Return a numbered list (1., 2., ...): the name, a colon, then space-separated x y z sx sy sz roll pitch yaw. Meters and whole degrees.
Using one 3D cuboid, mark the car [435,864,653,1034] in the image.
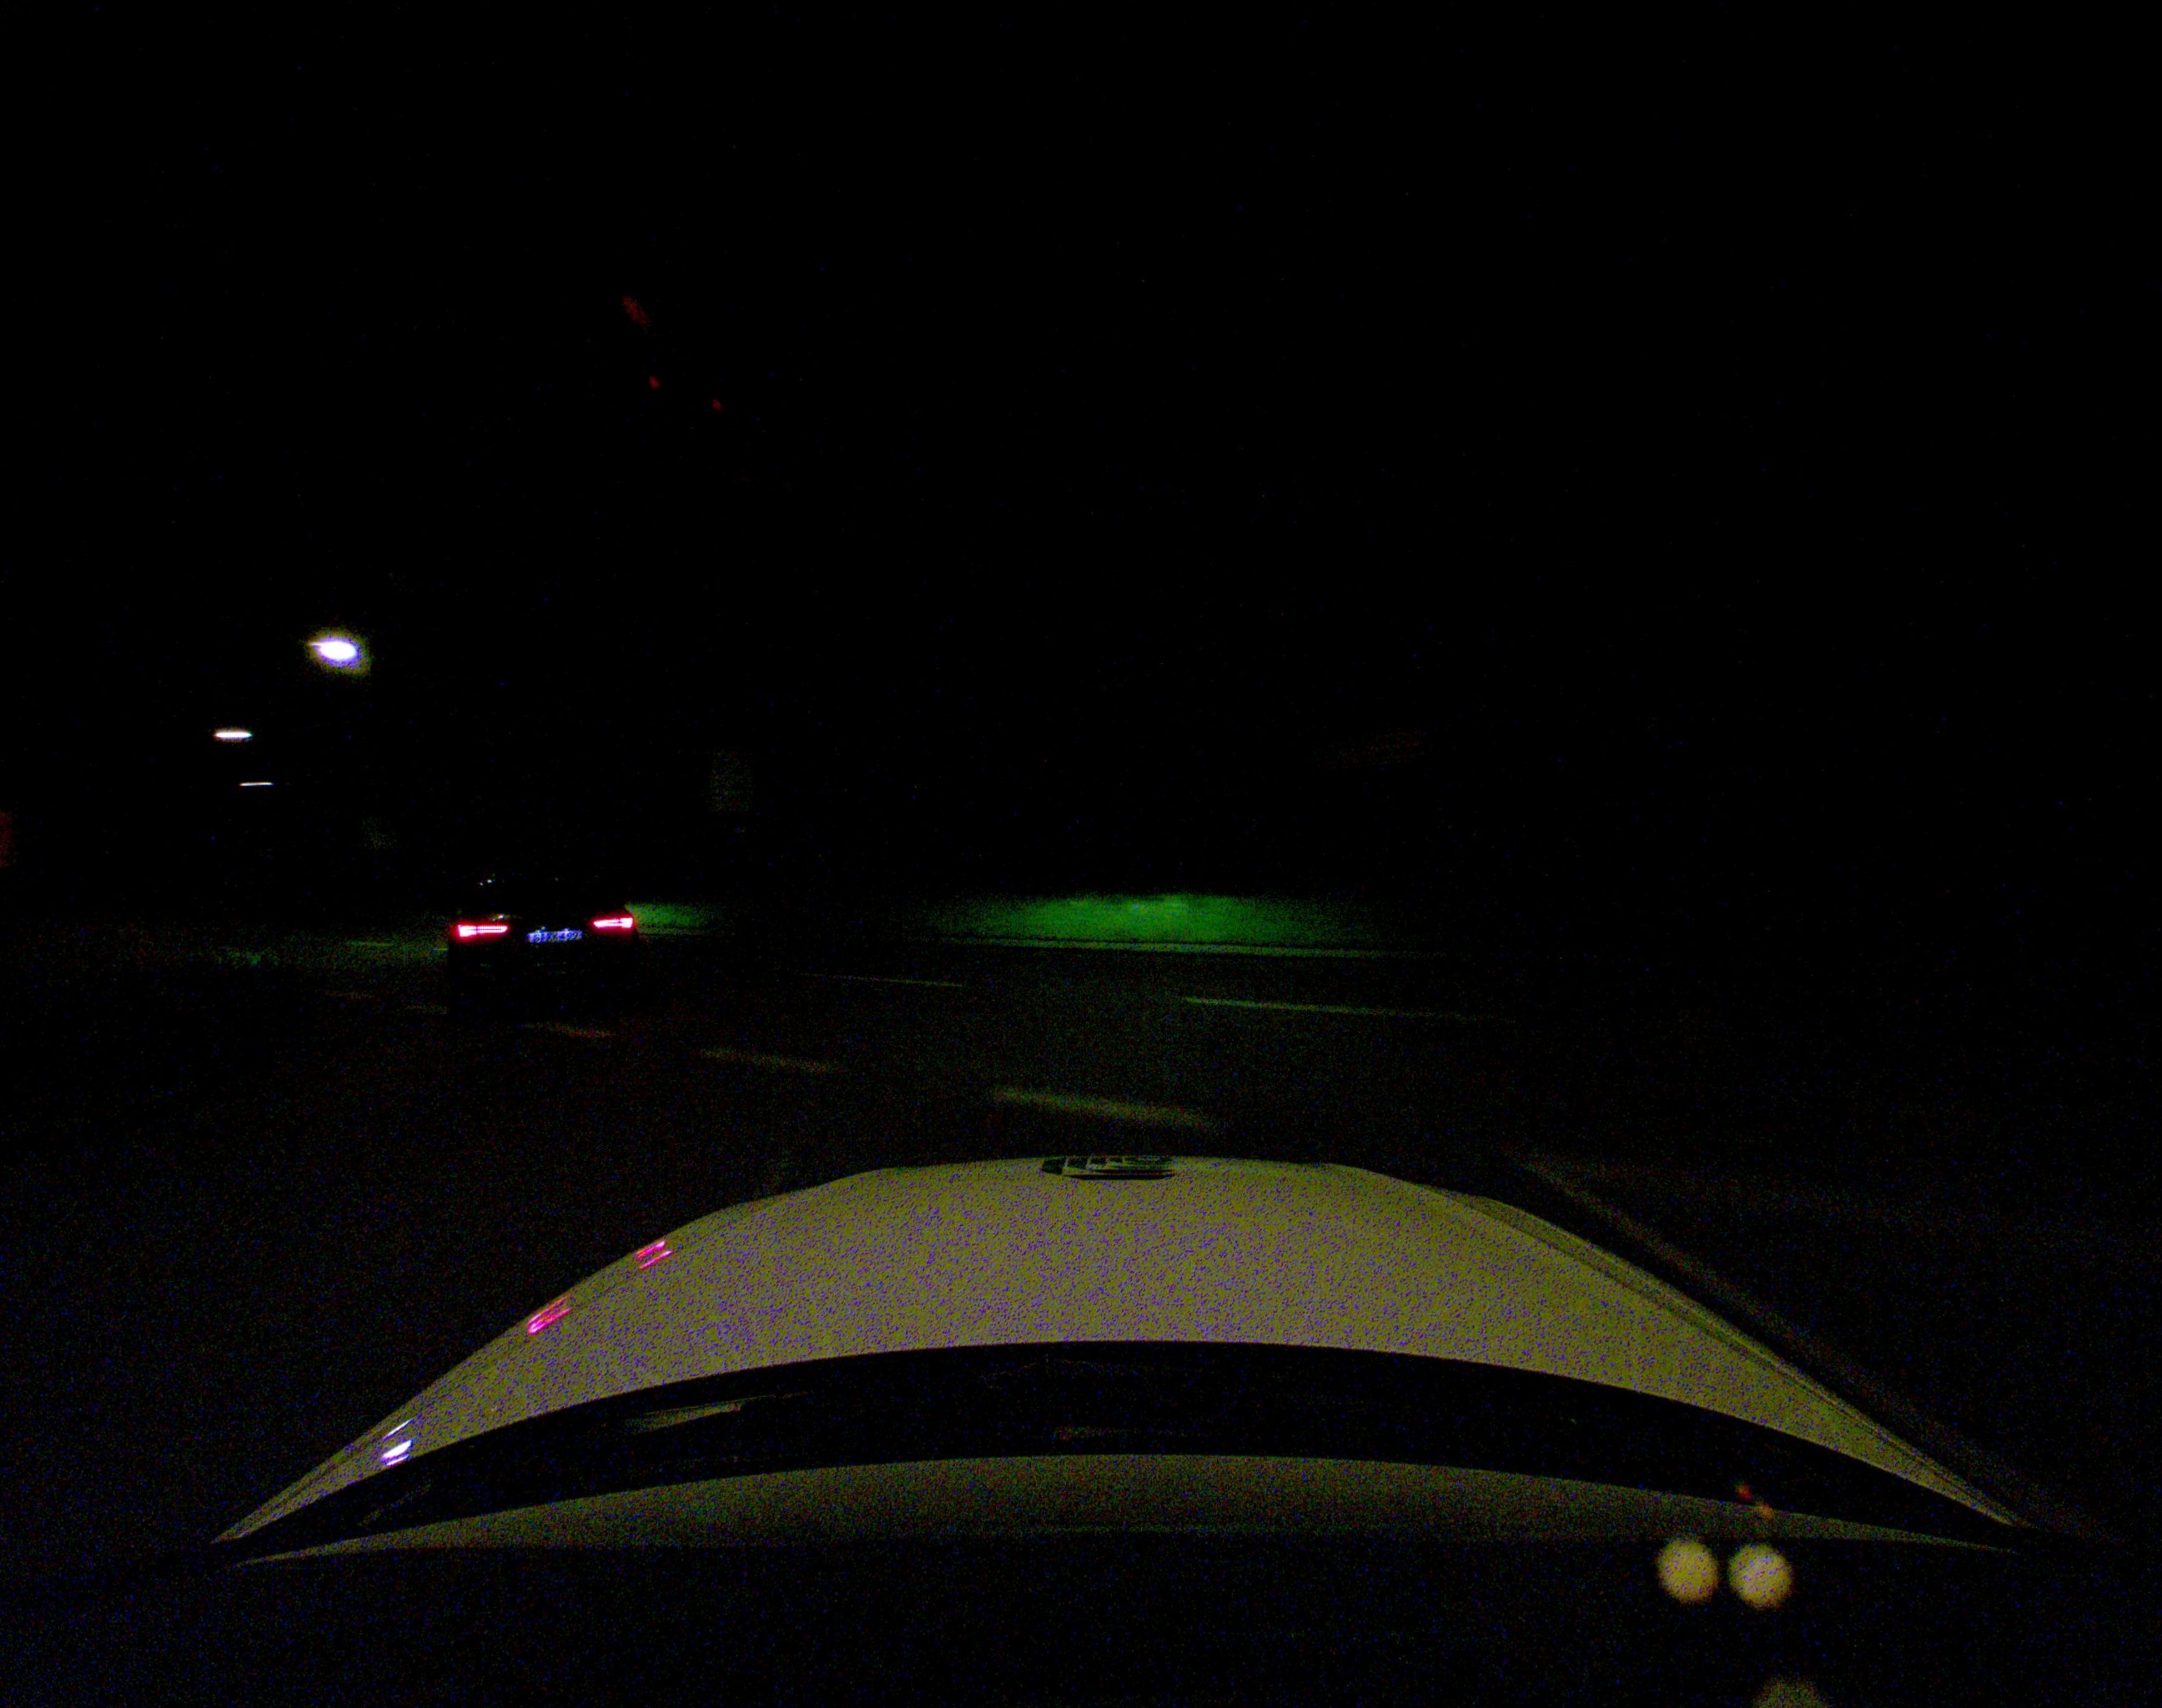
1. car: -6.759 0.987 10.091 1.867 1.582 3.961 -2 0 -38
